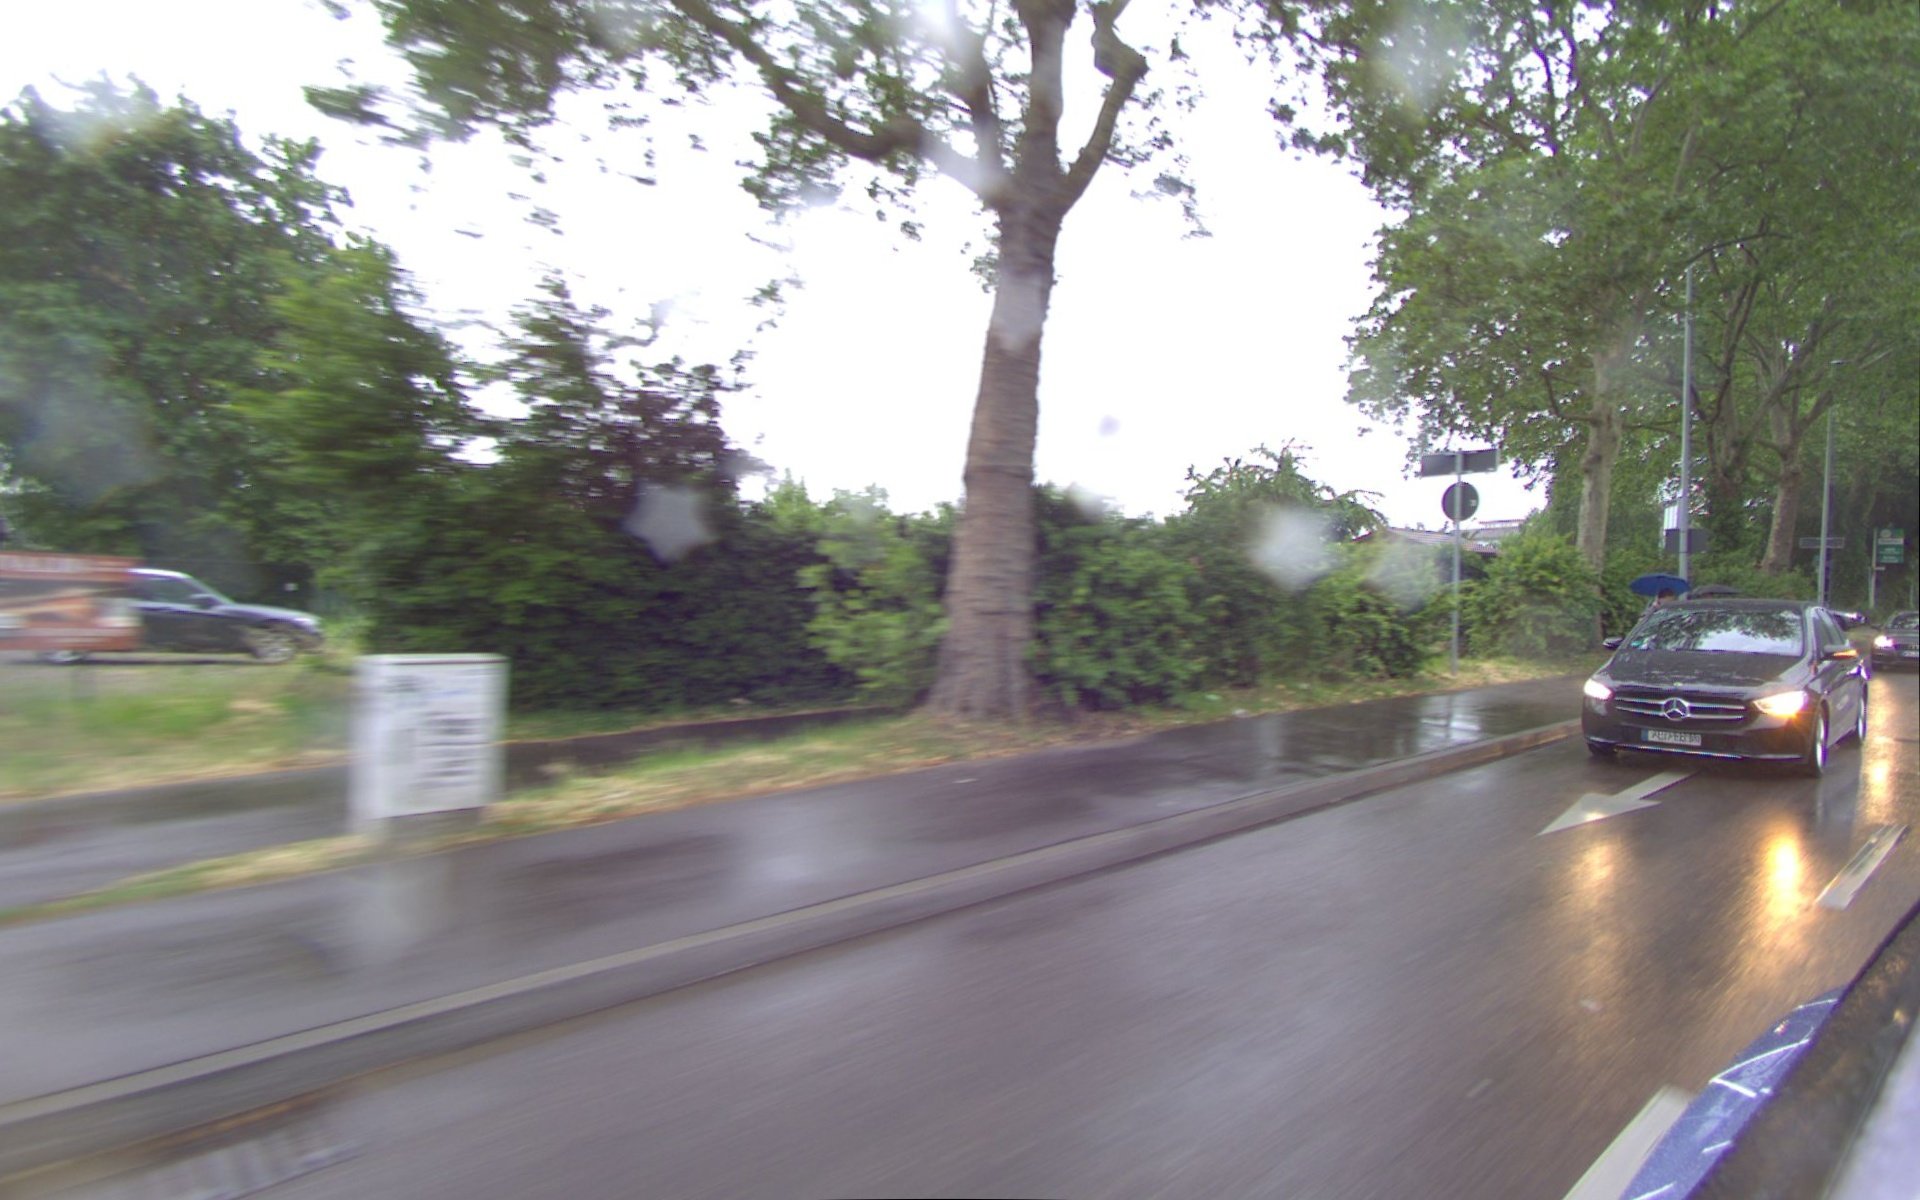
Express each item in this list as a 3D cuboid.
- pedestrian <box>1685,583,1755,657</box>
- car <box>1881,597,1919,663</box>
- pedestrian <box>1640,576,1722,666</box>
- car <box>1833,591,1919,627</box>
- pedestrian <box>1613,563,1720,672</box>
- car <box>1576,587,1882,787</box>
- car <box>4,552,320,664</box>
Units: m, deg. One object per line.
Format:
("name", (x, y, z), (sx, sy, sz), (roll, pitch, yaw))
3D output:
("pedestrian", (15.519, 0.386, 20.670), (0.998, 1.407, 0.894), (0, 3, -40))
("car", (22.378, 0.650, 23.083), (3.716, 1.402, 1.640), (-1, 1, -41))
("pedestrian", (13.662, 0.374, 19.186), (1.271, 1.608, 0.949), (0, 2, -41))
("car", (40.227, 0.392, 43.907), (1.630, 1.516, 3.384), (2, 0, -43))
("pedestrian", (12.436, 0.276, 17.824), (1.127, 1.807, 1.243), (0, 3, -40))
("car", (7.733, 0.657, 10.001), (4.349, 1.549, 1.817), (-1, 0, -45))
("car", (-13.332, 0.199, 17.123), (3.929, 1.639, 1.997), (4, -2, -41))
